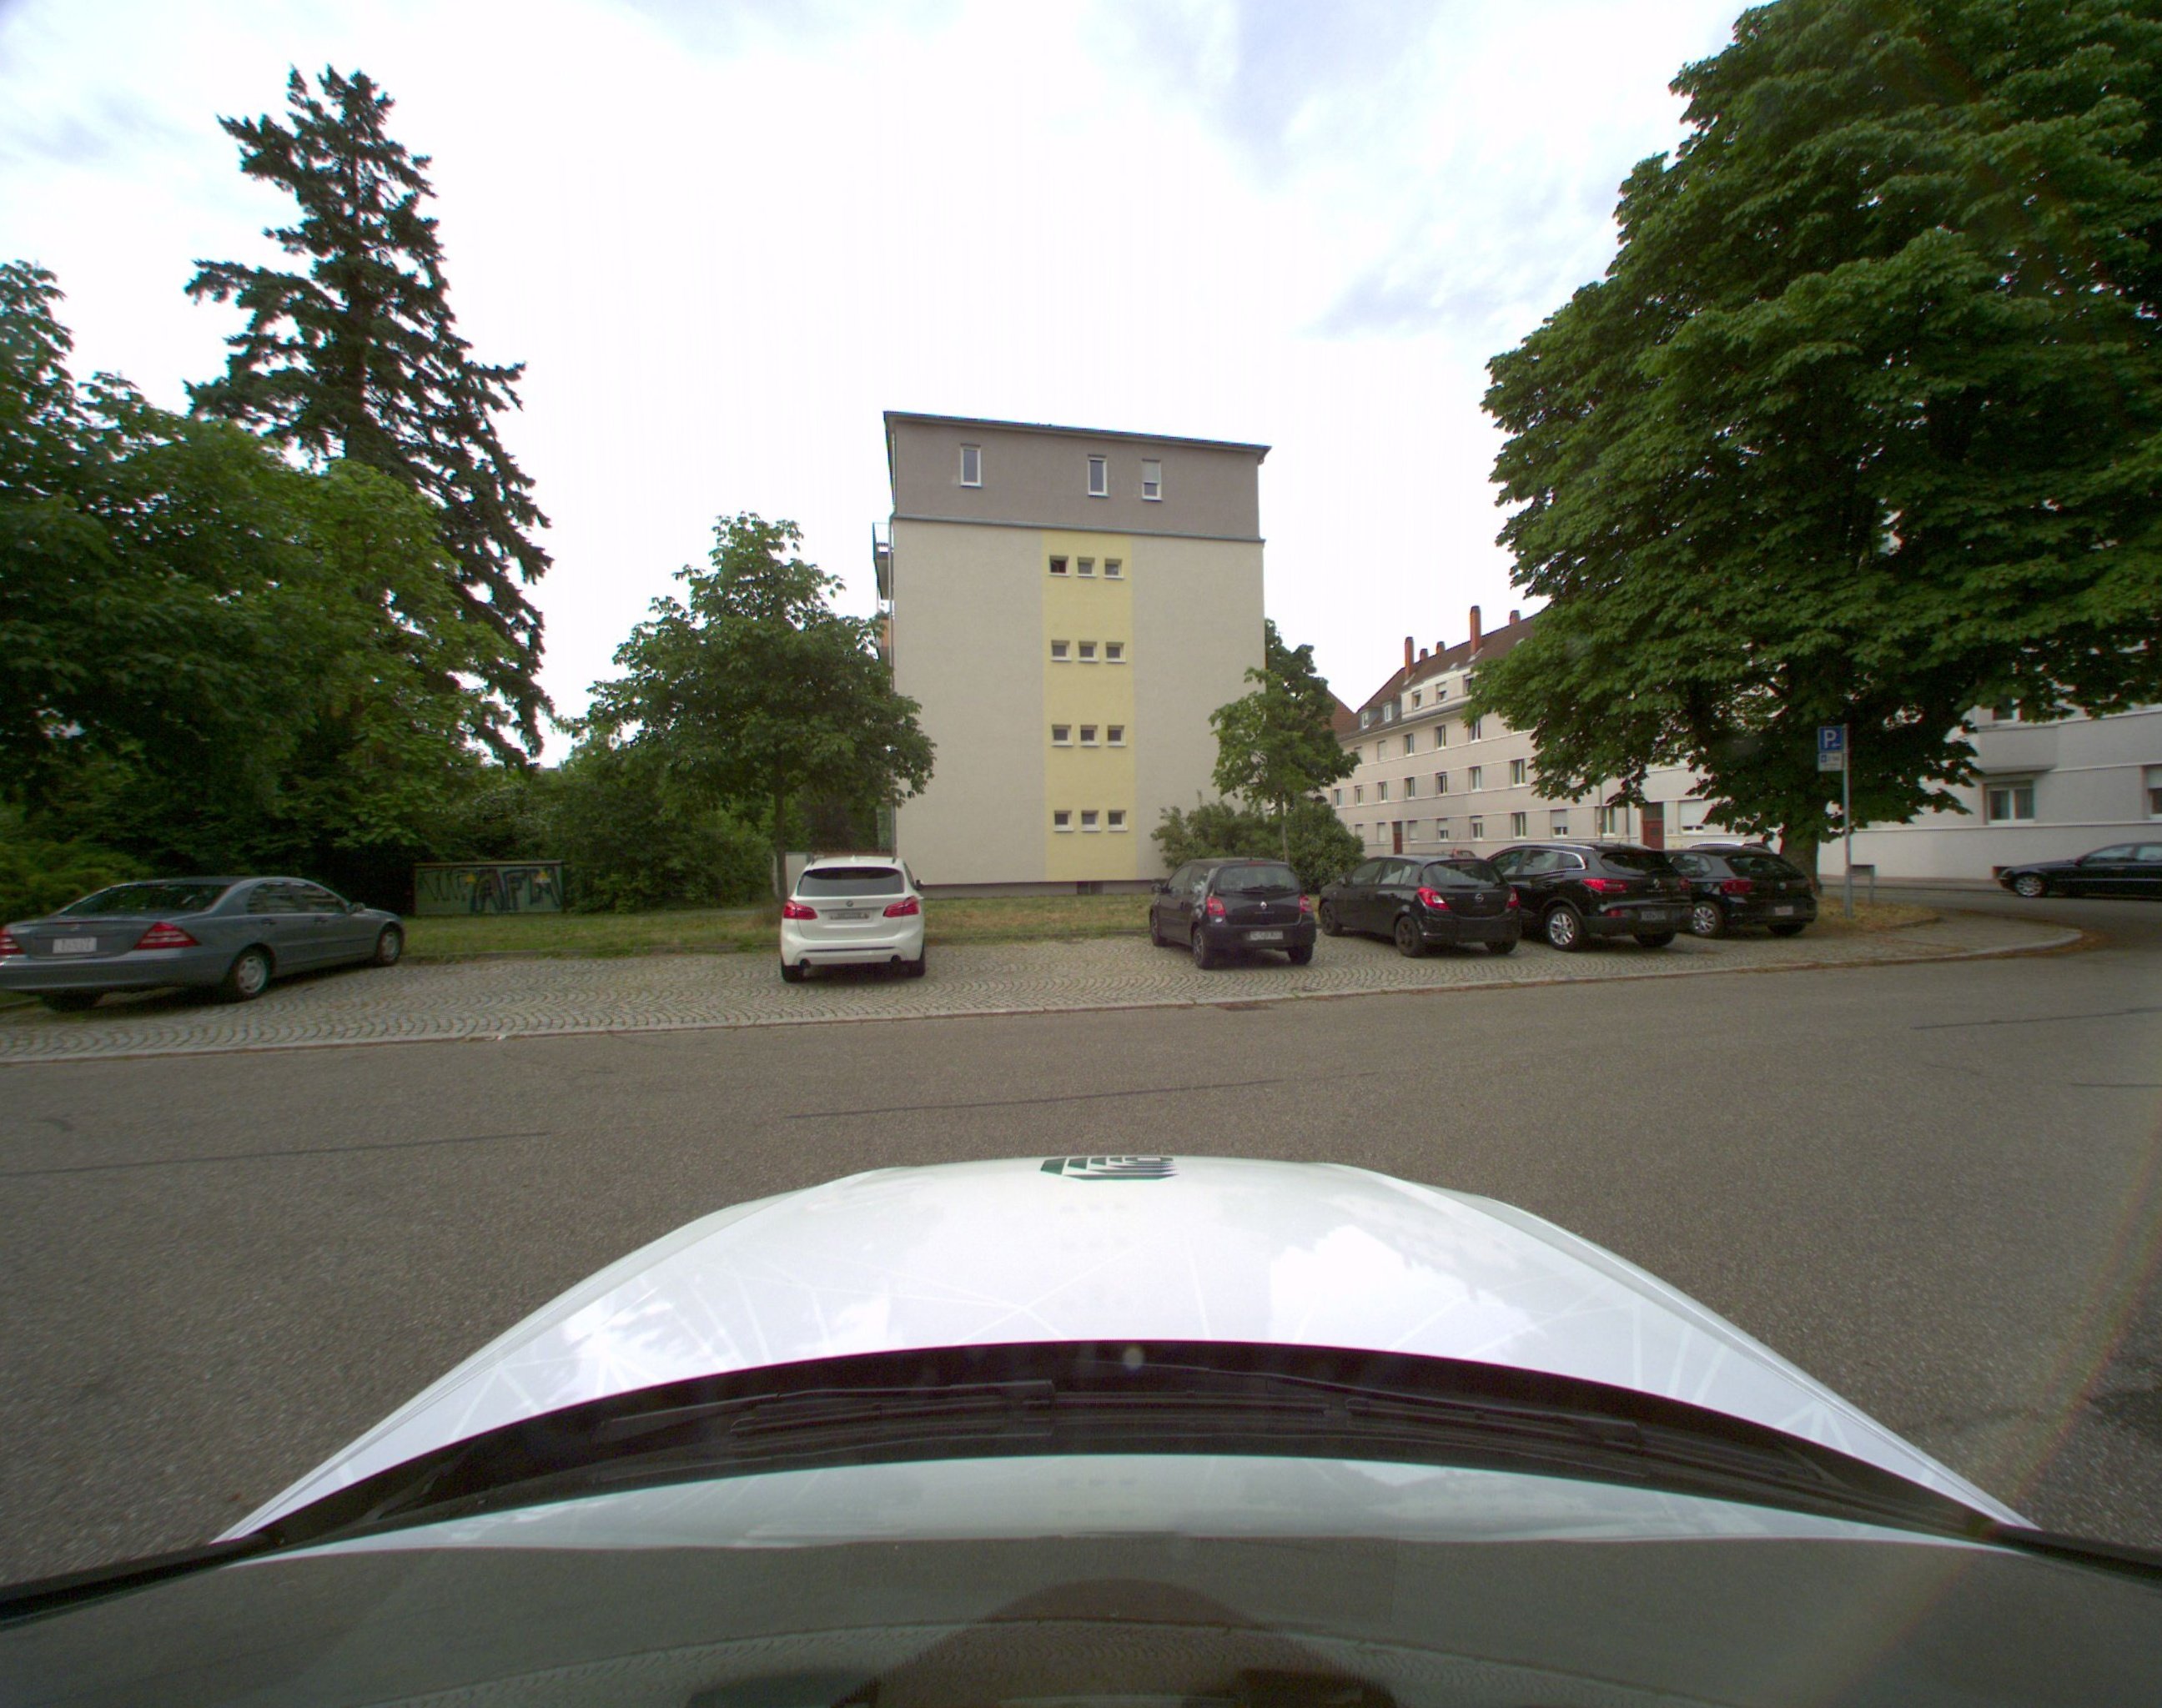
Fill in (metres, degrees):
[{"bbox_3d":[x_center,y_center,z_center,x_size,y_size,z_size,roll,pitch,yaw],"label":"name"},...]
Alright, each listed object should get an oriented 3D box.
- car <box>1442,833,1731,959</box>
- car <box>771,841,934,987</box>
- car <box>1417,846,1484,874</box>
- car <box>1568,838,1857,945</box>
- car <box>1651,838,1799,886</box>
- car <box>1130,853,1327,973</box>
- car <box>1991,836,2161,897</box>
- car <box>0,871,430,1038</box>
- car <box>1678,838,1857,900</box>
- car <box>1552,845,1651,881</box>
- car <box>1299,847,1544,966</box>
[{"bbox_3d":[7.909,0.534,13.285,1.908,1.697,4.059,-1,1,-7],"label":"car"},{"bbox_3d":[-3.090,0.681,11.781,1.879,1.560,4.135,0,3,-11],"label":"car"},{"bbox_3d":[21.482,0.325,47.494,1.697,1.525,3.812,-2,0,-10],"label":"car"},{"bbox_3d":[10.829,0.568,14.374,1.824,1.577,3.832,-2,0,-8],"label":"car"},{"bbox_3d":[24.846,0.273,31.632,1.844,1.673,4.271,-2,0,-12],"label":"car"},{"bbox_3d":[2.089,0.764,12.947,1.833,1.463,4.550,-1,1,-7],"label":"car"},{"bbox_3d":[26.274,0.282,20.063,1.746,1.420,4.930,-2,1,-12],"label":"car"},{"bbox_3d":[-10.475,1.035,10.368,1.677,1.454,4.537,-1,1,-15],"label":"car"},{"bbox_3d":[18.173,0.383,21.768,1.523,1.493,3.582,1,0,-8],"label":"car"},{"bbox_3d":[23.387,0.371,36.776,1.567,1.478,3.858,-2,0,-9],"label":"car"},{"bbox_3d":[5.302,0.707,13.420,1.833,1.565,4.347,-1,1,-7],"label":"car"}]
